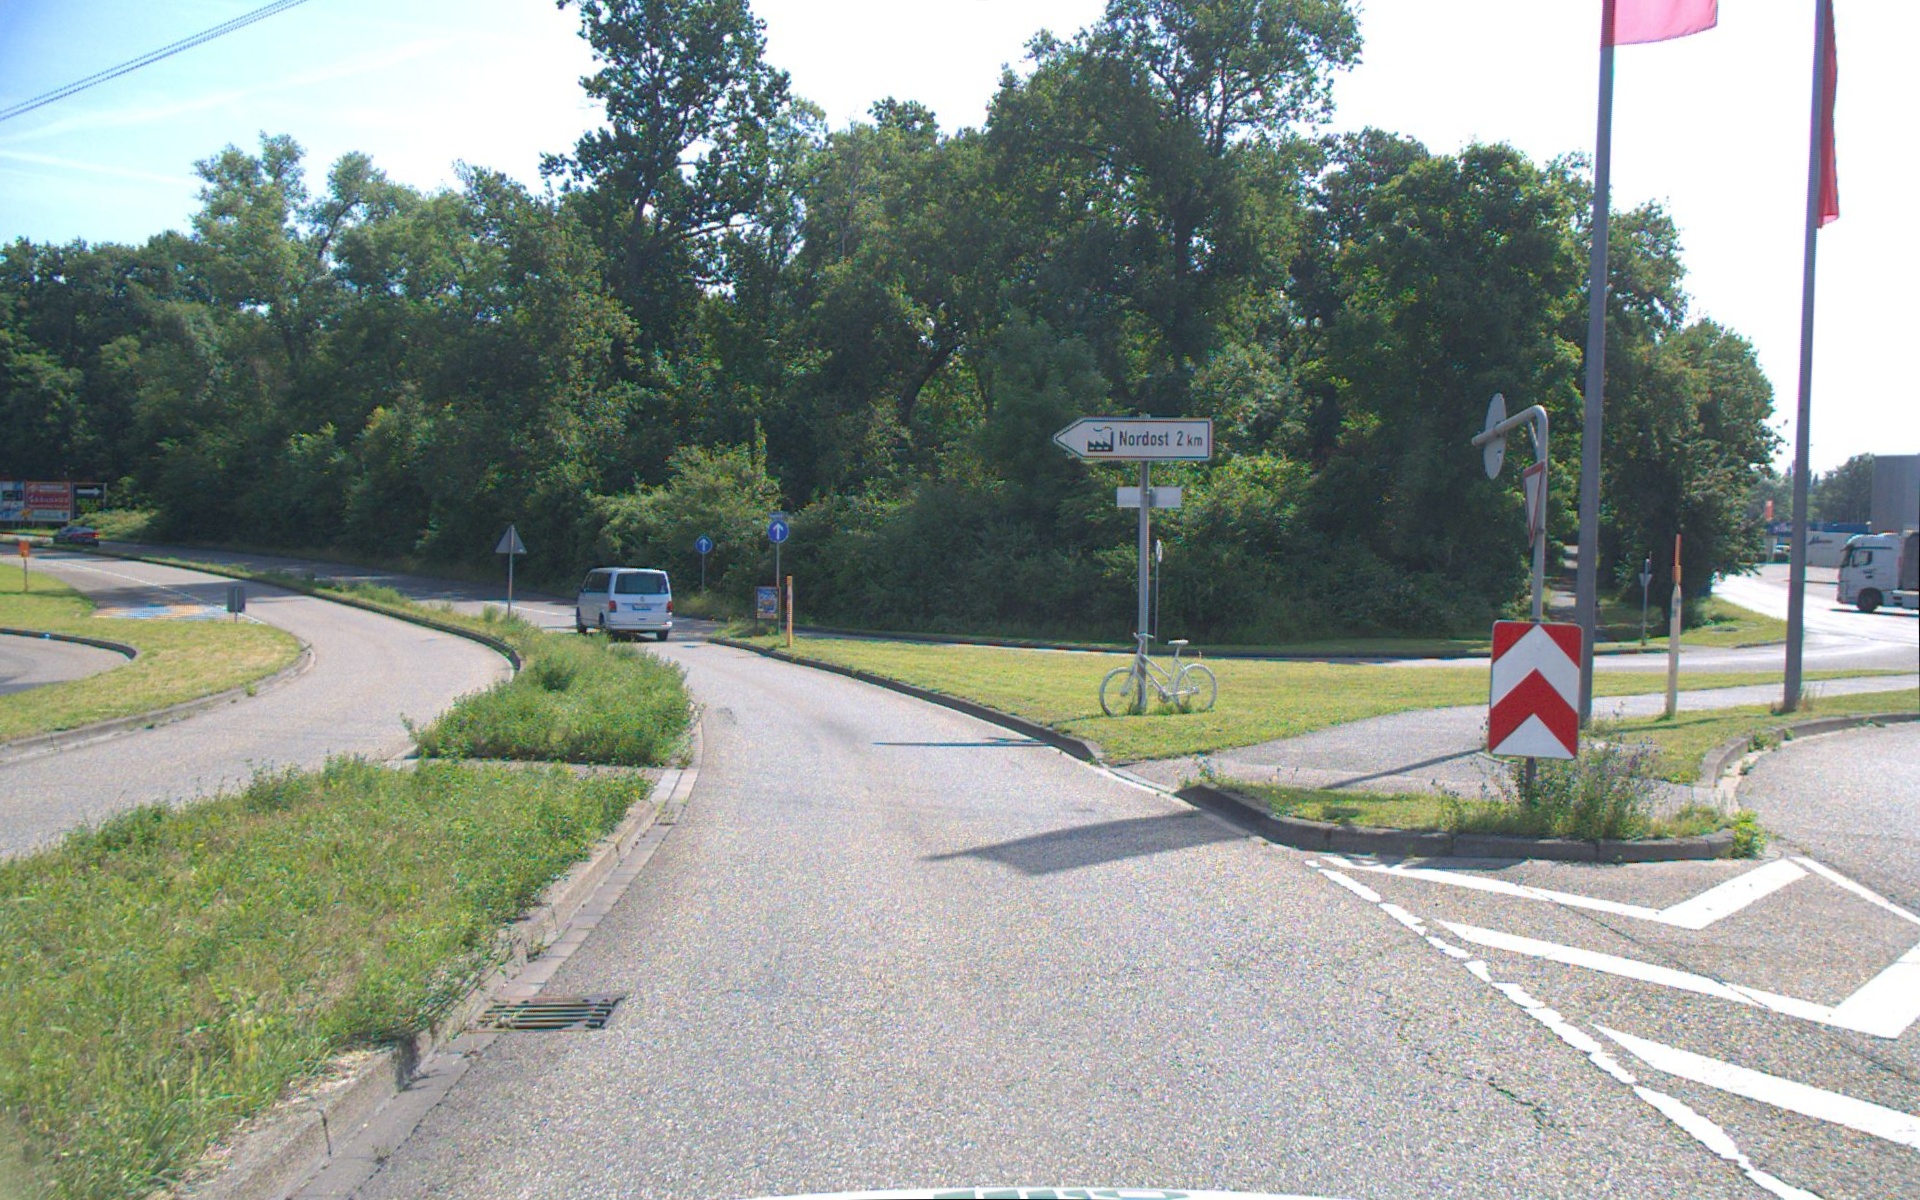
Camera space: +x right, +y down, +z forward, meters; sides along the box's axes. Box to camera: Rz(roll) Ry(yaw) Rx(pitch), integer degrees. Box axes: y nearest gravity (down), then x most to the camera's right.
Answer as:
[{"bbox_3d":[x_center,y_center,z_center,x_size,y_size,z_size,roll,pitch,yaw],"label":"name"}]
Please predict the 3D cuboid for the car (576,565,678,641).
[{"bbox_3d":[-9.458,0.071,46.772,2.012,2.049,3.970,0,0,-24],"label":"car"}]

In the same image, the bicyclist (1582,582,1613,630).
[{"bbox_3d":[21.450,0.207,55.678,0.661,1.560,0.846,0,2,-3],"label":"bicyclist"}]

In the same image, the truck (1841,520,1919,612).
[{"bbox_3d":[48.353,-1.737,83.692,6.426,4.492,3.749,2,3,31],"label":"truck"}]

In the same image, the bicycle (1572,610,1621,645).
[{"bbox_3d":[21.439,0.910,55.747,0.709,0.994,2.186,1,3,-2],"label":"bicycle"}]

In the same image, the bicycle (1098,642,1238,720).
[{"bbox_3d":[2.531,0.975,20.079,1.757,0.904,0.270,0,0,-20],"label":"bicycle"}]

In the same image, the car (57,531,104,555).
[{"bbox_3d":[-61.064,-4.000,114.763,3.589,1.593,1.644,3,3,40],"label":"car"}]
